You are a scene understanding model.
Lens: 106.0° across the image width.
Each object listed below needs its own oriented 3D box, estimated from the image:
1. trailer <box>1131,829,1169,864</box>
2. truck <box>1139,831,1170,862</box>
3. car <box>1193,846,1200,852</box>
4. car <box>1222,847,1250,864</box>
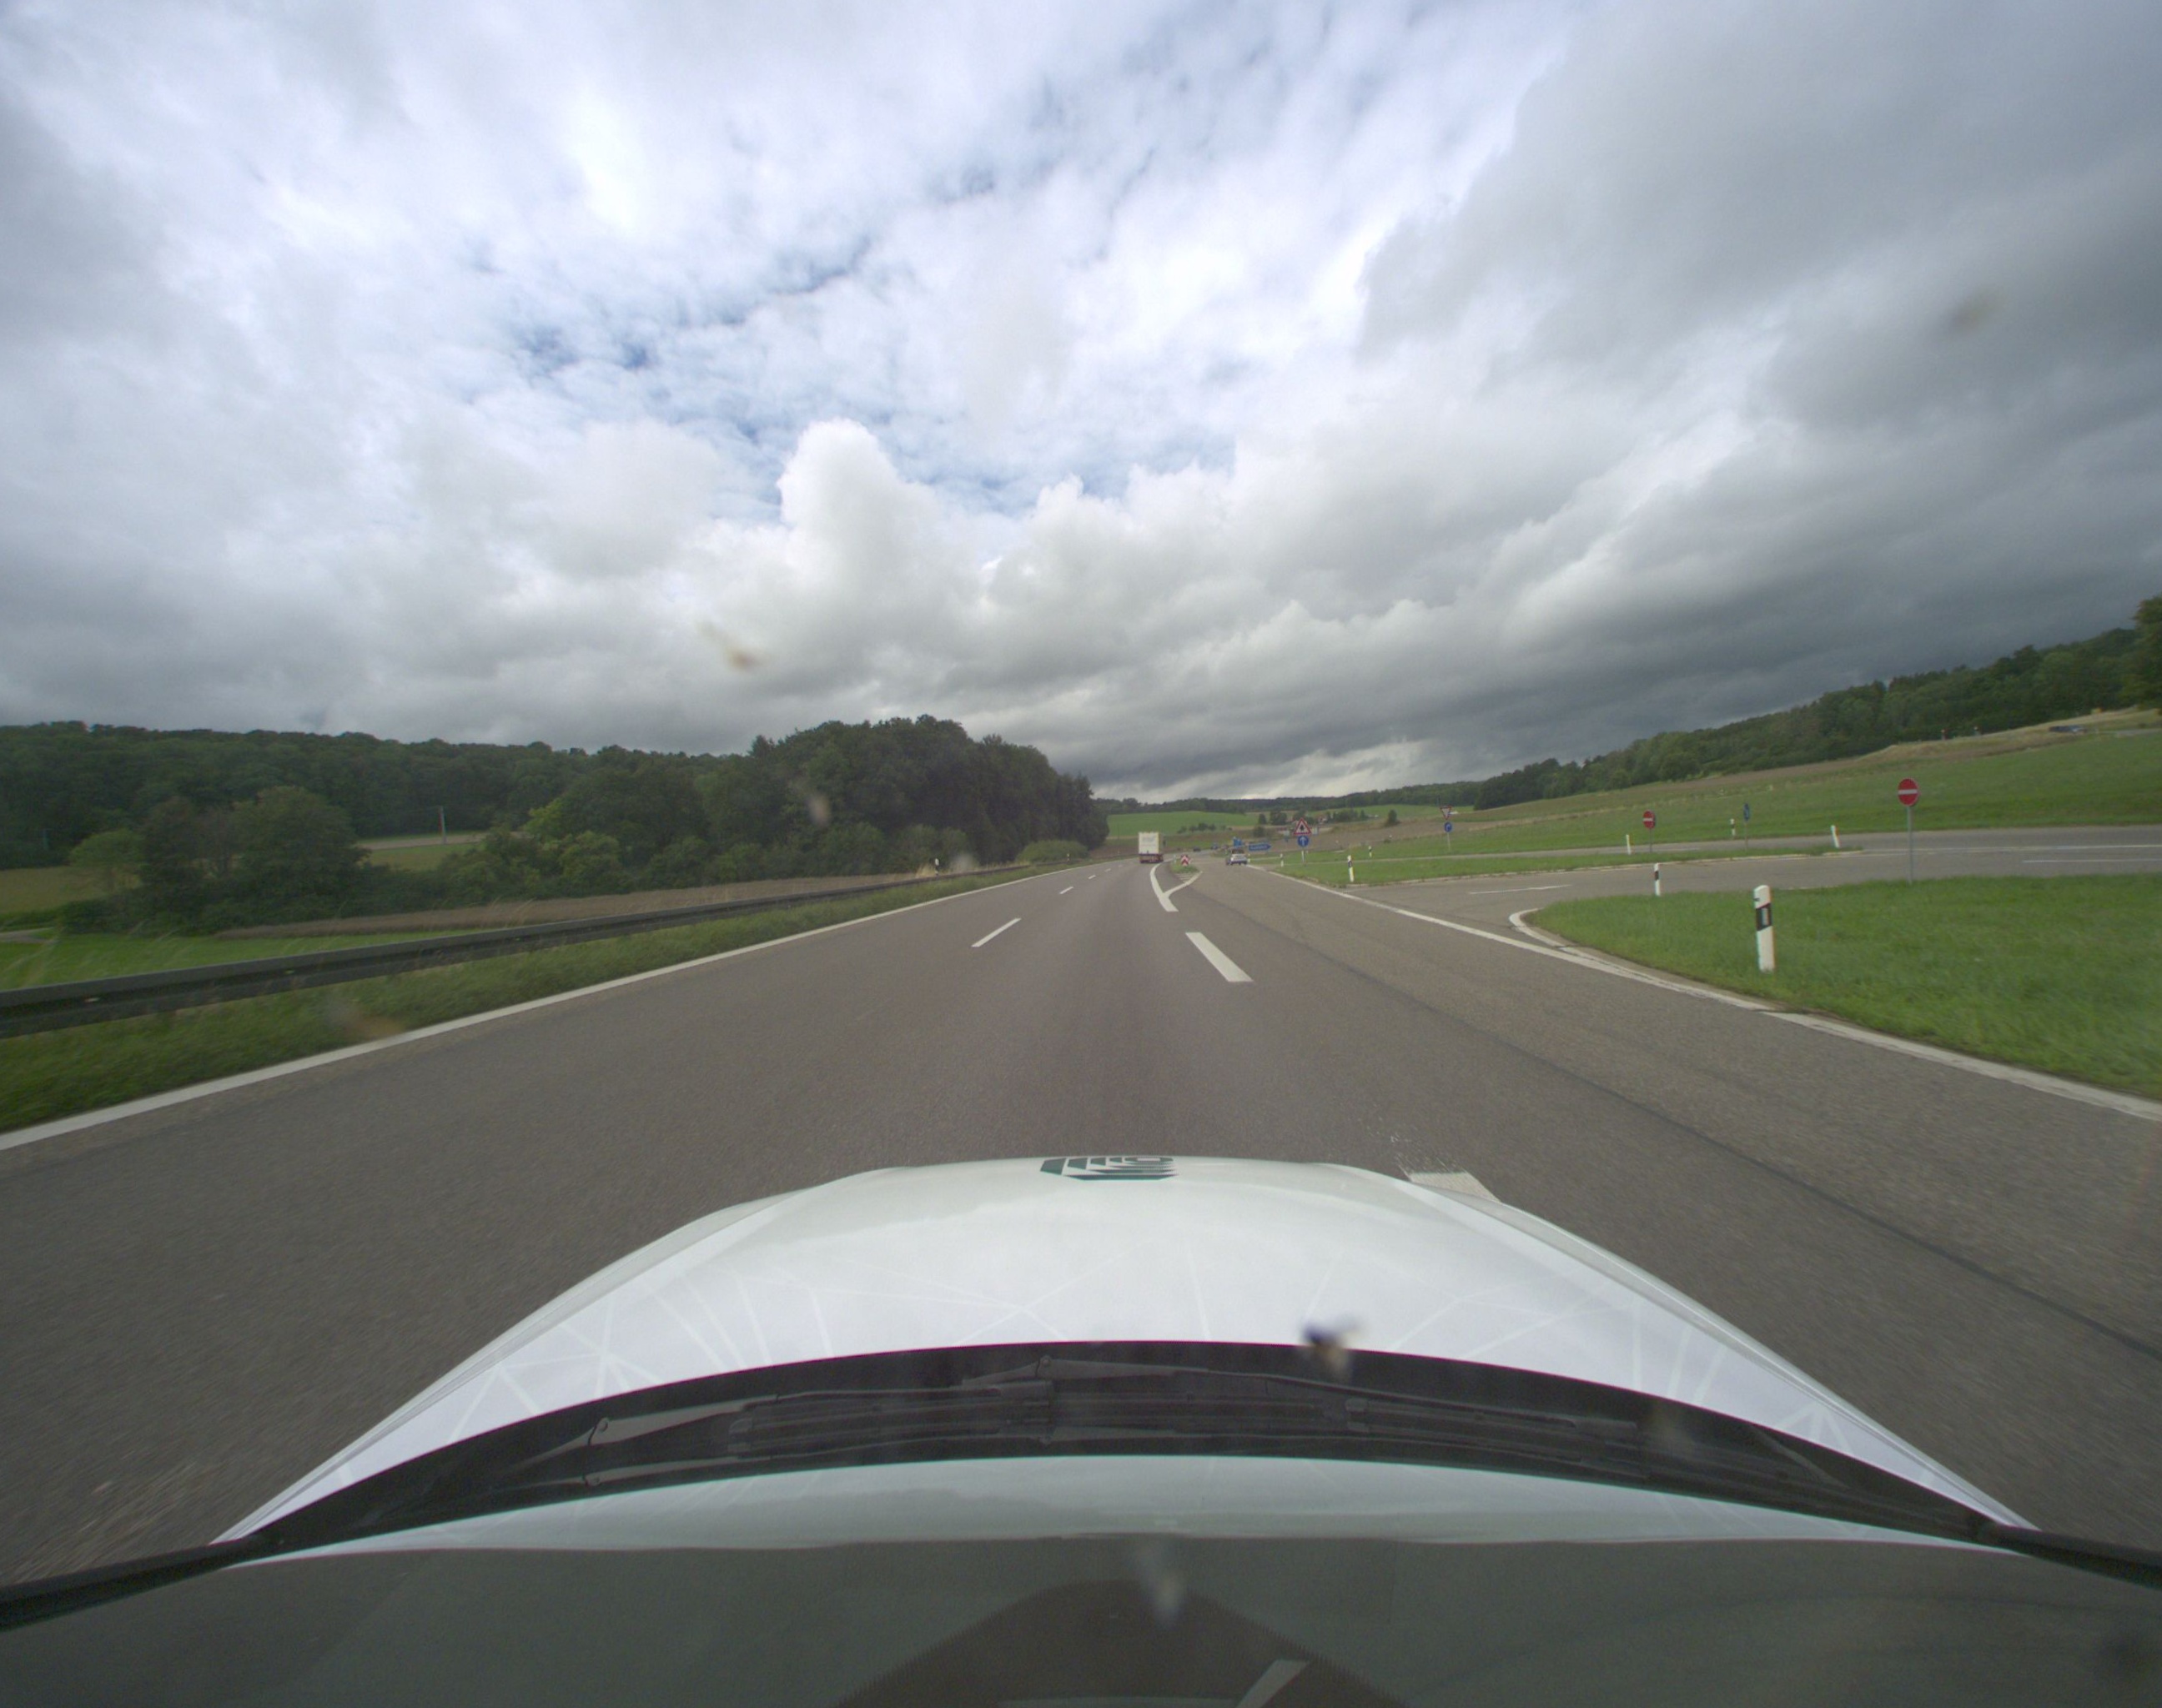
[{"bbox_3d":[9.270,-0.981,107.556,3.783,4.174,14.847,-1,0,9],"label":"trailer"},{"bbox_3d":[10.372,-1.048,114.367,3.765,4.131,8.287,0,0,9],"label":"truck"},{"bbox_3d":[35.781,-1.618,251.689,1.890,1.795,4.013,-2,-2,12],"label":"car"},{"bbox_3d":[15.169,0.164,80.055,1.773,1.552,3.997,-3,1,-2],"label":"car"}]
